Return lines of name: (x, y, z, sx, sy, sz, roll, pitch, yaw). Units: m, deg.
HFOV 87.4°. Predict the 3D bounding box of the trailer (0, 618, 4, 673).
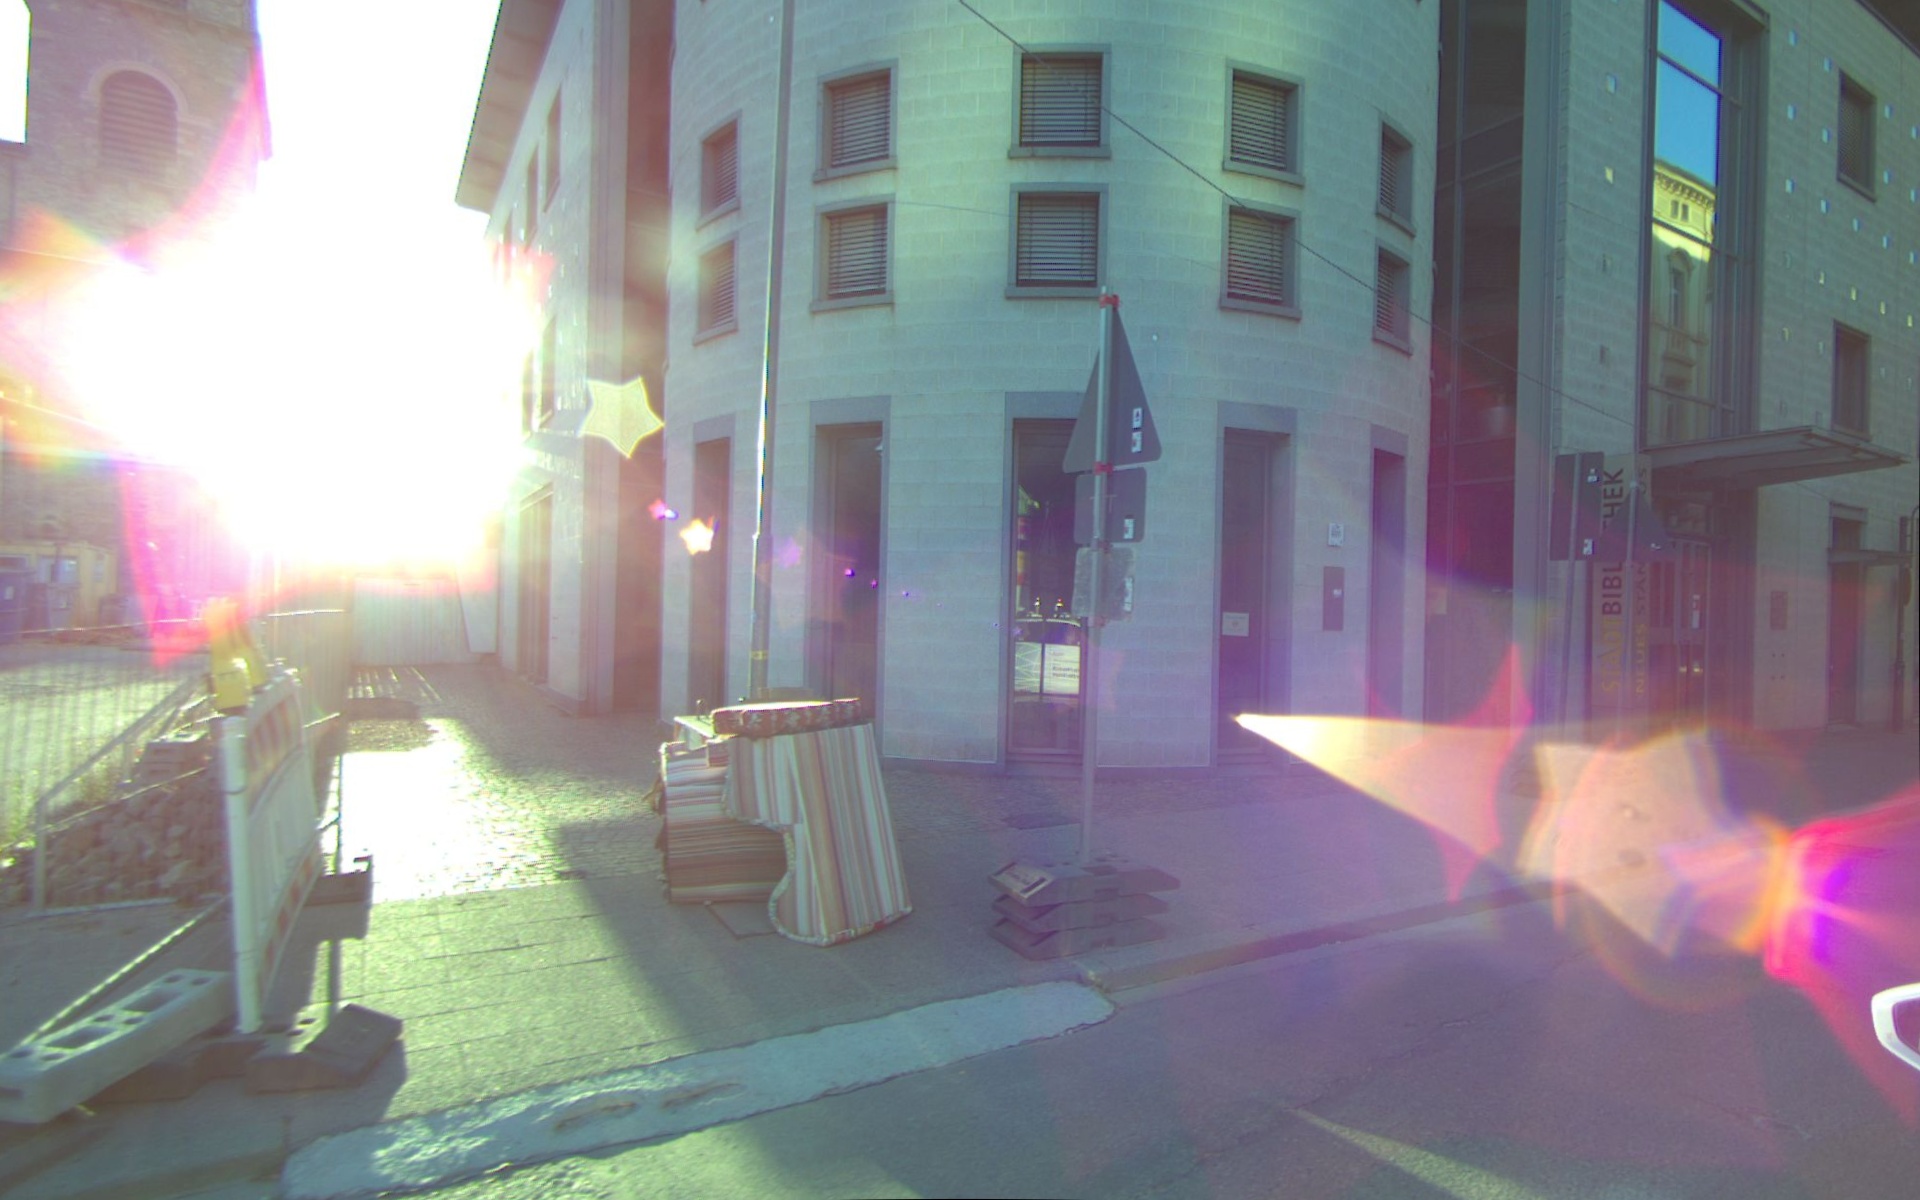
trailer: (-17.498, 0.765, 15.995, 1.973, 1.004, 4.341, 2, -2, -25)
